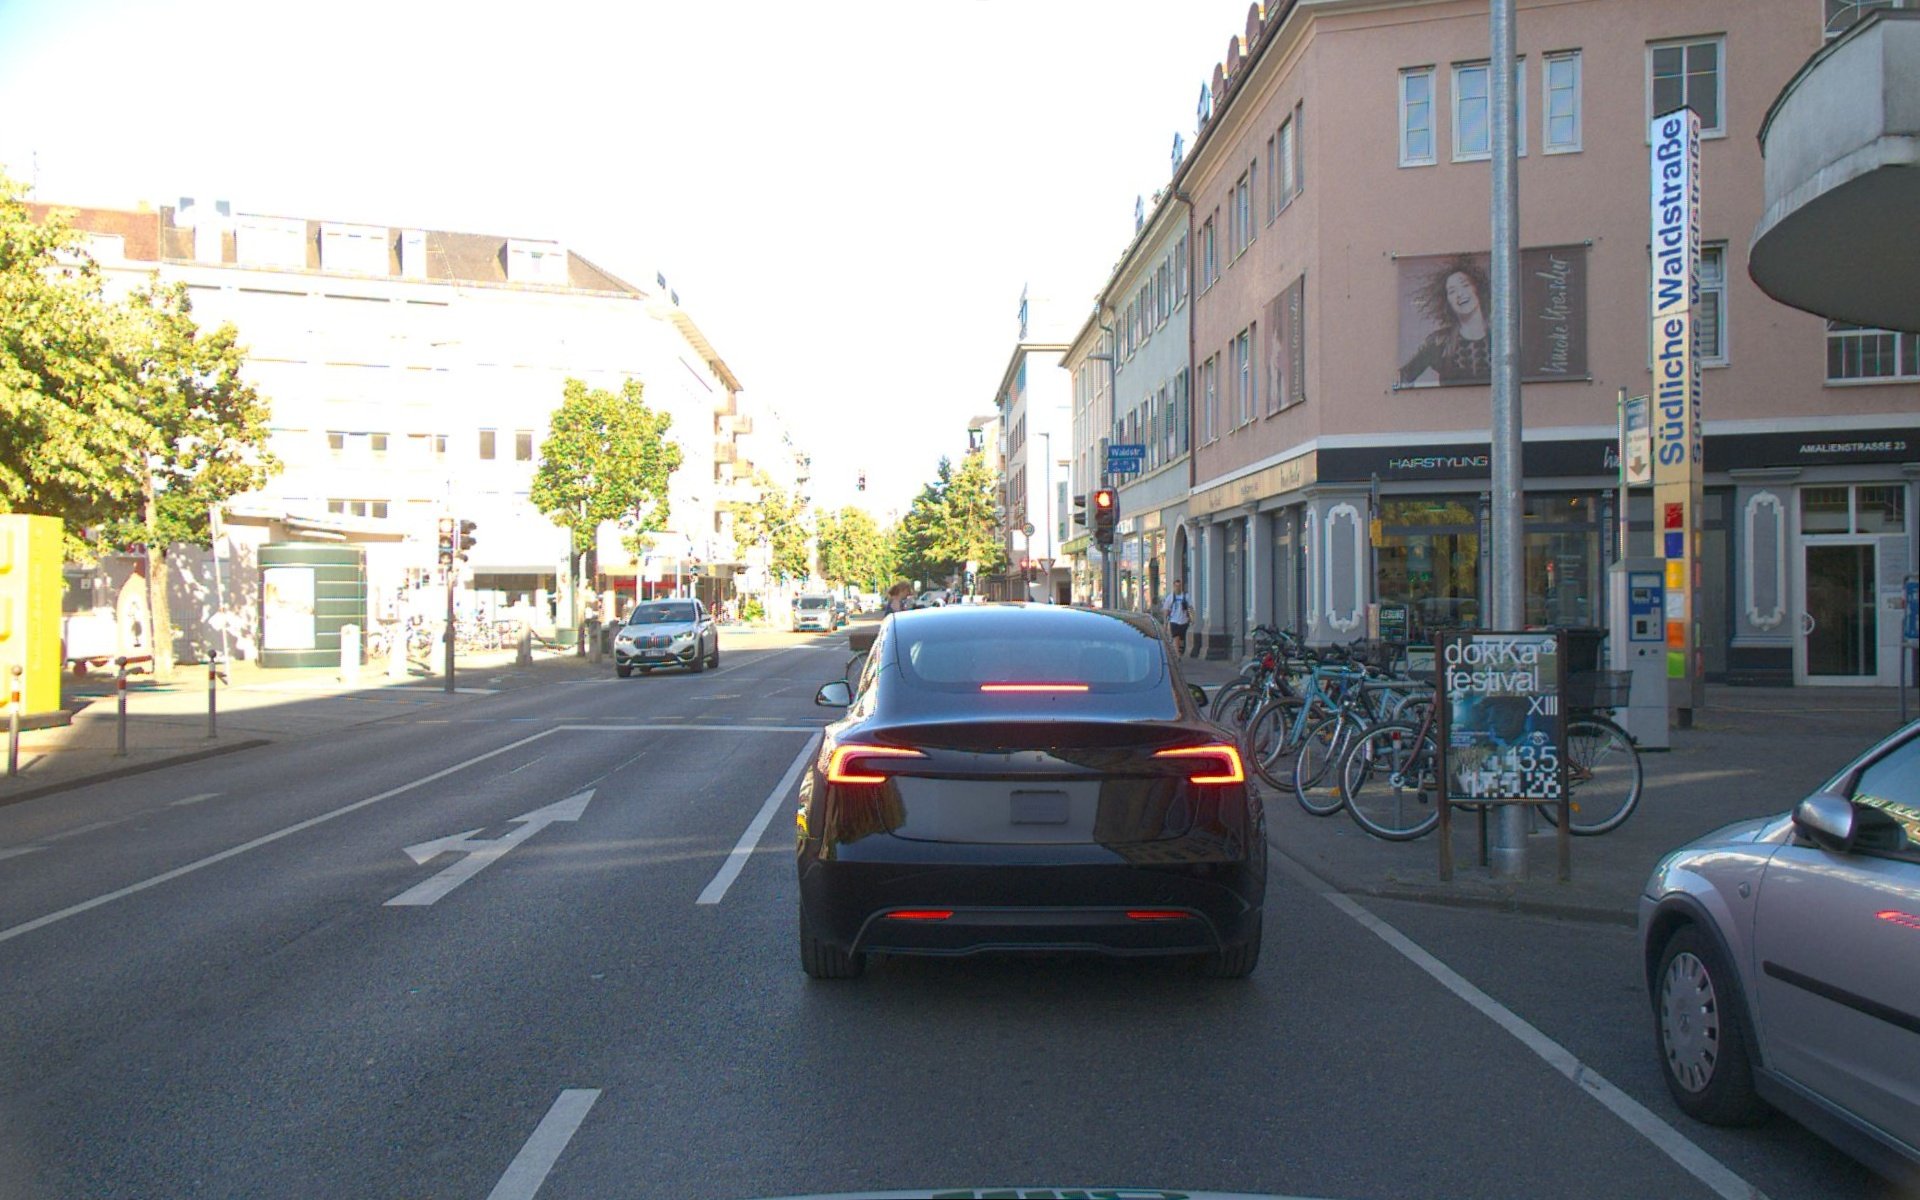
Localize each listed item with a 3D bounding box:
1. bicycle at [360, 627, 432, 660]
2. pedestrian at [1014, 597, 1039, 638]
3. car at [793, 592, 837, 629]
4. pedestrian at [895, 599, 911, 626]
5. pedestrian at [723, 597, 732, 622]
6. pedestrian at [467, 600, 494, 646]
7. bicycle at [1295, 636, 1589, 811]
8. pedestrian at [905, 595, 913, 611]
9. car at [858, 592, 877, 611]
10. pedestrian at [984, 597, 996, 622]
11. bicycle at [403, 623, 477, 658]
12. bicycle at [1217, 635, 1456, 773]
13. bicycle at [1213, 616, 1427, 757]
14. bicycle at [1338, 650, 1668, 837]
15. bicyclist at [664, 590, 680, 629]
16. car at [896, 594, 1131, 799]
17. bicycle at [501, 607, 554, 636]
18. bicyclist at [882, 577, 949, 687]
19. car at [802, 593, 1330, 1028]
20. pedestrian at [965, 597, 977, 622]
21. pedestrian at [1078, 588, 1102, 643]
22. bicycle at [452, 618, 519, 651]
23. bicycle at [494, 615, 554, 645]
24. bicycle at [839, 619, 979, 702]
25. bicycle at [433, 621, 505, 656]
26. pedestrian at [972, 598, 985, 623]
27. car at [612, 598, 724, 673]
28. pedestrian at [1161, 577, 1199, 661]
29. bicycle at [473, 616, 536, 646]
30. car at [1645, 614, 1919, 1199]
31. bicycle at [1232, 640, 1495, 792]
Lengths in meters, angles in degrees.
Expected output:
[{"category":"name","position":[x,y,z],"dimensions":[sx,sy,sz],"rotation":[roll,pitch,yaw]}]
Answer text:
[{"category":"bicycle","position":[-14.454,1.112,42.402],"dimensions":[1.612,0.806,0.606],"rotation":[1,0,-5]},{"category":"pedestrian","position":[2.778,0.727,69.241],"dimensions":[0.742,1.660,0.951],"rotation":[1,-1,-18]},{"category":"car","position":[-6.790,0.475,77.723],"dimensions":[1.751,1.675,4.401],"rotation":[0,0,-1]},{"category":"pedestrian","position":[-3.649,0.804,106.033],"dimensions":[0.708,1.725,0.843],"rotation":[0,0,-28]},{"category":"pedestrian","position":[-13.773,0.571,97.947],"dimensions":[0.451,1.486,0.517],"rotation":[0,0,-6]},{"category":"pedestrian","position":[-21.705,1.035,74.870],"dimensions":[1.041,2.049,1.049],"rotation":[1,-1,-20]},{"category":"bicycle","position":[3.240,0.827,11.206],"dimensions":[1.834,1.106,0.414],"rotation":[-2,-1,3]},{"category":"pedestrian","position":[-6.407,0.384,207.027],"dimensions":[0.912,2.049,0.938],"rotation":[1,-1,-1]},{"category":"car","position":[-10.424,0.172,186.993],"dimensions":[1.953,2.049,3.999],"rotation":[1,0,-1]},{"category":"pedestrian","position":[1.741,0.537,95.789],"dimensions":[0.516,1.447,0.474],"rotation":[1,-1,-31]},{"category":"bicycle","position":[-14.139,1.099,44.990],"dimensions":[1.826,0.950,0.606],"rotation":[0,0,-2]},{"category":"bicycle","position":[3.088,0.847,13.671],"dimensions":[1.833,1.056,0.548],"rotation":[-2,-1,5]},{"category":"bicycle","position":[3.199,0.766,14.796],"dimensions":[1.789,1.189,0.506],"rotation":[-2,-1,5]},{"category":"bicycle","position":[3.259,0.864,10.013],"dimensions":[1.833,1.056,0.353],"rotation":[-2,-1,6]},{"category":"bicyclist","position":[-11.463,0.385,65.902],"dimensions":[0.516,1.530,0.472],"rotation":[1,-1,-24]},{"category":"car","position":[0.313,0.687,13.737],"dimensions":[1.683,1.450,3.755],"rotation":[0,0,-2]},{"category":"bicycle","position":[-20.289,1.025,77.624],"dimensions":[2.334,1.318,0.509],"rotation":[1,-1,-27]},{"category":"bicyclist","position":[-0.617,0.444,23.030],"dimensions":[0.872,1.508,0.702],"rotation":[0,-1,4]},{"category":"car","position":[0.335,0.722,7.604],"dimensions":[1.785,1.467,3.999],"rotation":[0,0,-1]},{"category":"pedestrian","position":[0.631,0.535,95.786],"dimensions":[0.467,1.442,0.516],"rotation":[1,-1,-32]},{"category":"pedestrian","position":[4.211,0.500,53.582],"dimensions":[0.692,1.773,0.540],"rotation":[0,0,-1]},{"category":"bicycle","position":[-14.216,1.019,49.587],"dimensions":[1.826,0.950,0.606],"rotation":[1,0,-2]},{"category":"bicycle","position":[-14.373,0.988,54.524],"dimensions":[1.826,0.950,0.606],"rotation":[0,0,-2]},{"category":"bicycle","position":[-0.699,0.832,23.033],"dimensions":[1.893,1.137,0.709],"rotation":[0,-1,4]},{"category":"bicycle","position":[-13.979,1.088,47.117],"dimensions":[1.826,0.950,0.606],"rotation":[1,0,-2]},{"category":"pedestrian","position":[1.068,0.611,95.092],"dimensions":[0.516,1.447,0.474],"rotation":[1,-1,-31]},{"category":"car","position":[-6.291,0.741,36.032],"dimensions":[1.752,1.485,3.756],"rotation":[-2,0,-1]},{"category":"pedestrian","position":[4.765,0.403,35.852],"dimensions":[0.735,1.796,0.837],"rotation":[0,-1,3]},{"category":"bicycle","position":[-14.337,0.978,52.076],"dimensions":[1.826,0.950,0.606],"rotation":[0,0,-2]},{"category":"car","position":[2.924,0.748,3.500],"dimensions":[1.515,1.415,3.476],"rotation":[0,0,0]},{"category":"bicycle","position":[3.023,0.863,12.494],"dimensions":[1.834,1.056,0.533],"rotation":[-2,-1,3]}]
